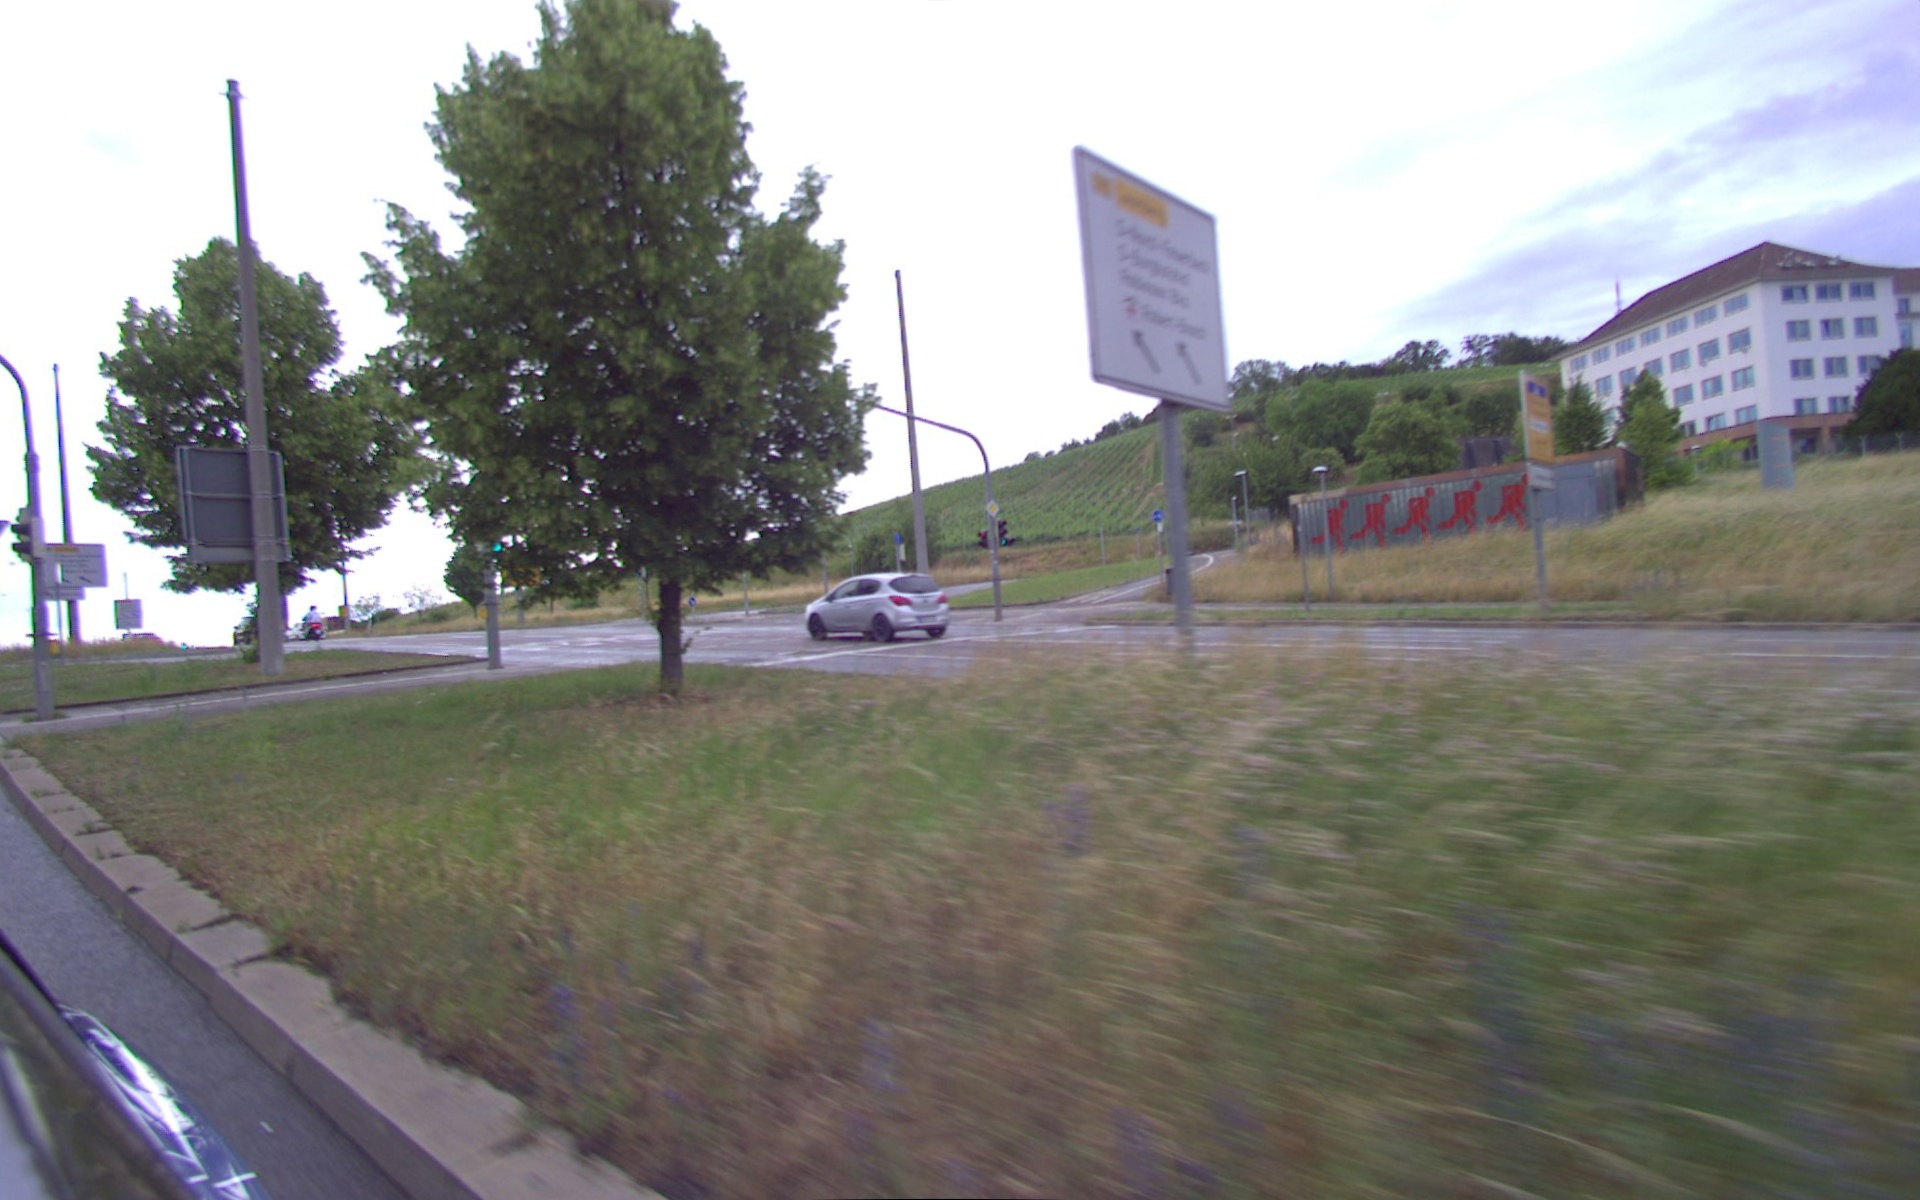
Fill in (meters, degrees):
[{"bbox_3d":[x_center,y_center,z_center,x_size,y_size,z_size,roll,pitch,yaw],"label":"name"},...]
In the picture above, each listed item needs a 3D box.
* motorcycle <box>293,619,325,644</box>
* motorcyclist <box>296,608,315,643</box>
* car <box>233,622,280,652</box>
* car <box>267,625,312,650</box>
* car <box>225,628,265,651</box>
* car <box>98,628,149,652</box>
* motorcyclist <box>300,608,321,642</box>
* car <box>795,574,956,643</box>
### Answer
[{"bbox_3d":[-30.763,1.509,47.803,2.501,1.058,0.610,-4,-1,41],"label":"motorcycle"},{"bbox_3d":[-31.068,1.195,48.039,0.643,1.608,0.576,-4,-1,41],"label":"motorcyclist"},{"bbox_3d":[-38.761,1.991,55.723,1.520,1.515,3.665,-3,1,-43],"label":"car"},{"bbox_3d":[-45.281,2.554,68.327,3.773,1.474,1.634,-4,0,42],"label":"car"},{"bbox_3d":[-57.704,3.160,81.648,4.177,1.660,1.749,-1,1,42],"label":"car"},{"bbox_3d":[-58.112,2.812,70.294,4.457,1.515,1.734,-2,0,38],"label":"car"},{"bbox_3d":[-30.564,1.178,47.614,0.582,1.593,0.606,-4,-1,41],"label":"motorcyclist"},{"bbox_3d":[-1.989,0.195,22.936,1.520,1.399,3.932,-3,1,-43],"label":"car"}]
